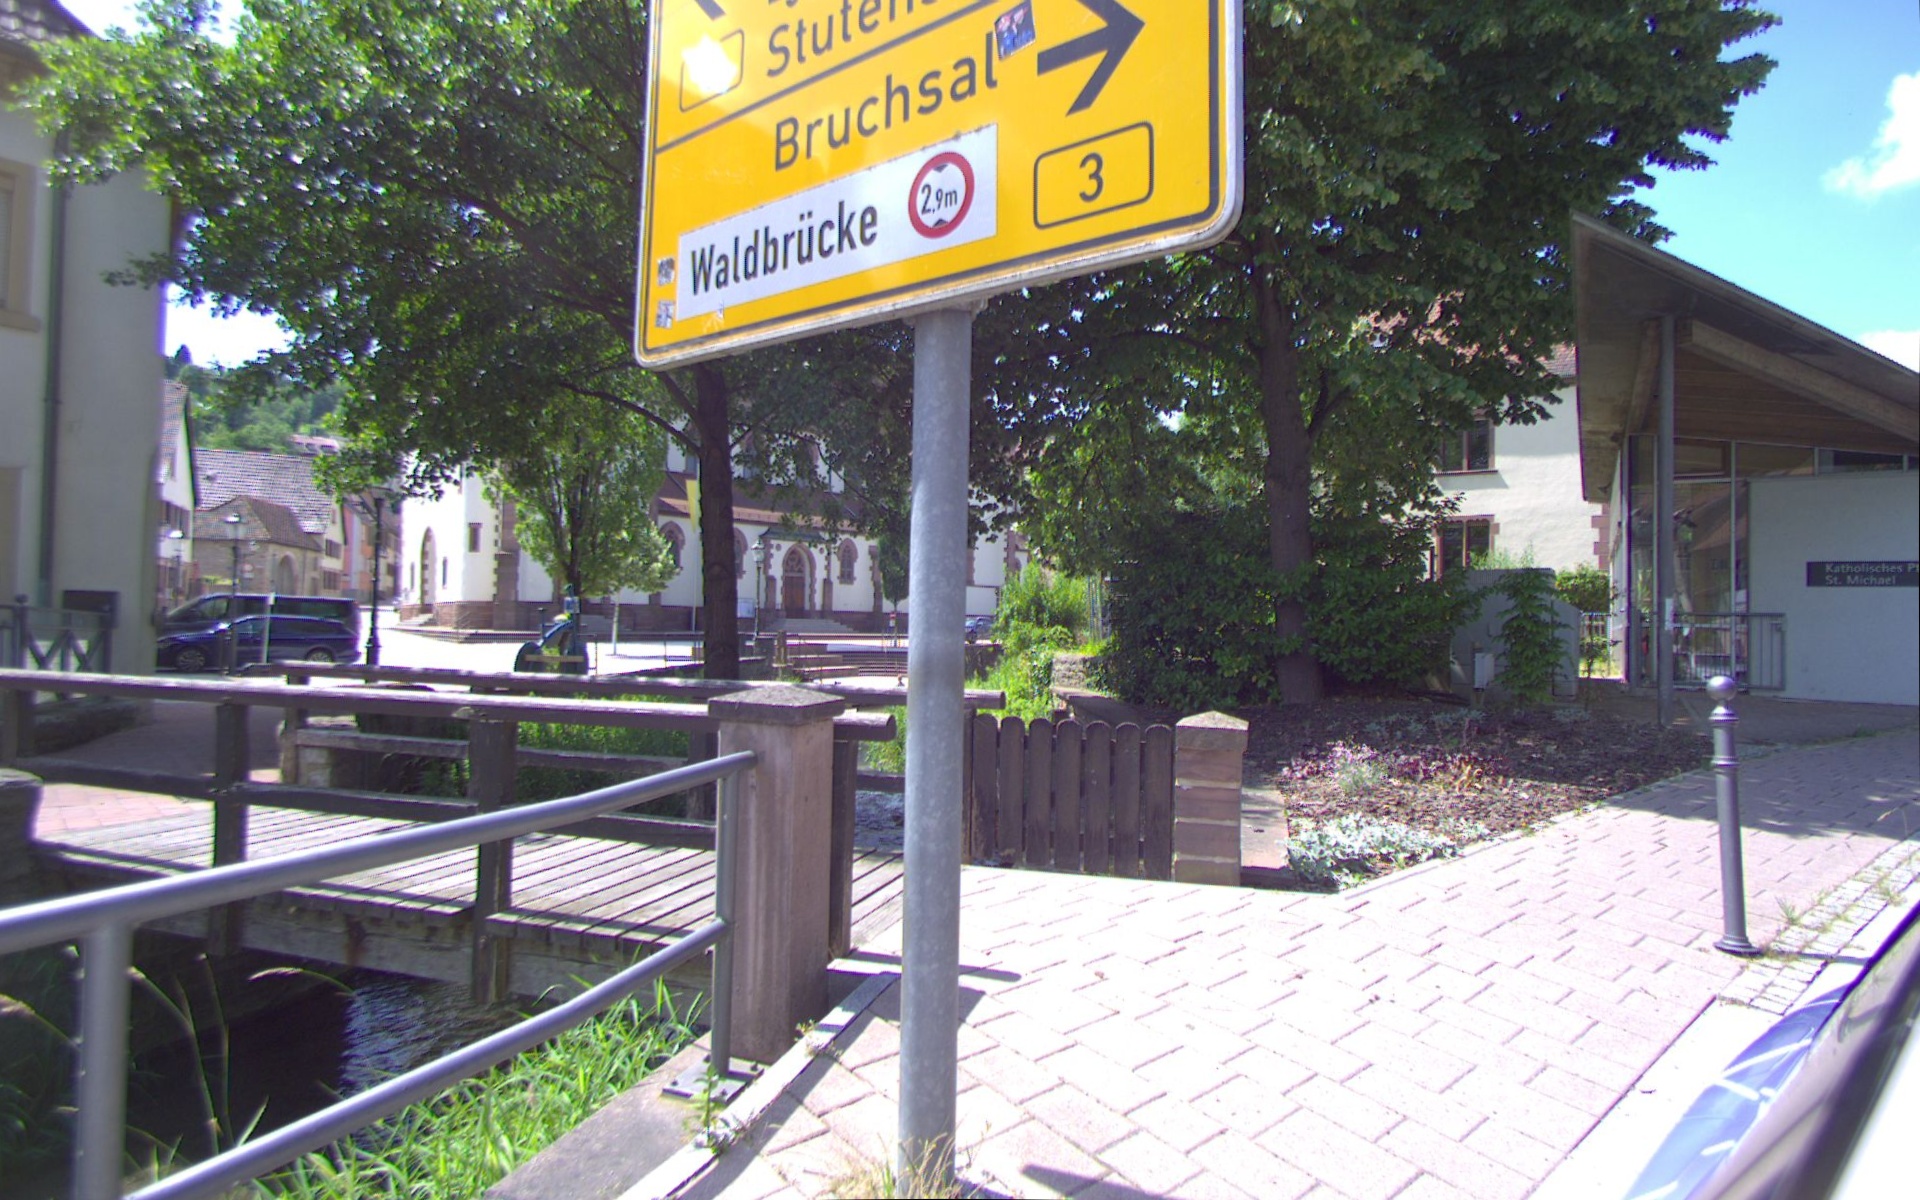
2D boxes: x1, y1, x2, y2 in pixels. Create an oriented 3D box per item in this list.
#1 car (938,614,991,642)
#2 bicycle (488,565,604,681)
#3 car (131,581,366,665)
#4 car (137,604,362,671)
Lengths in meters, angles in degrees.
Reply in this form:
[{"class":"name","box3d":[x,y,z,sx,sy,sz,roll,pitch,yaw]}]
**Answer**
[{"class":"car","box3d":[0.275,1.560,57.012,1.652,1.524,3.779,-1,-1,24]},{"class":"bicycle","box3d":[-7.837,0.437,19.327,0.770,2.040,2.660,-3,-2,8]},{"class":"car","box3d":[-19.638,0.673,28.098,5.034,2.053,1.956,4,-2,-42]},{"class":"car","box3d":[-18.006,0.995,25.787,4.461,1.501,1.586,4,-2,-42]}]
